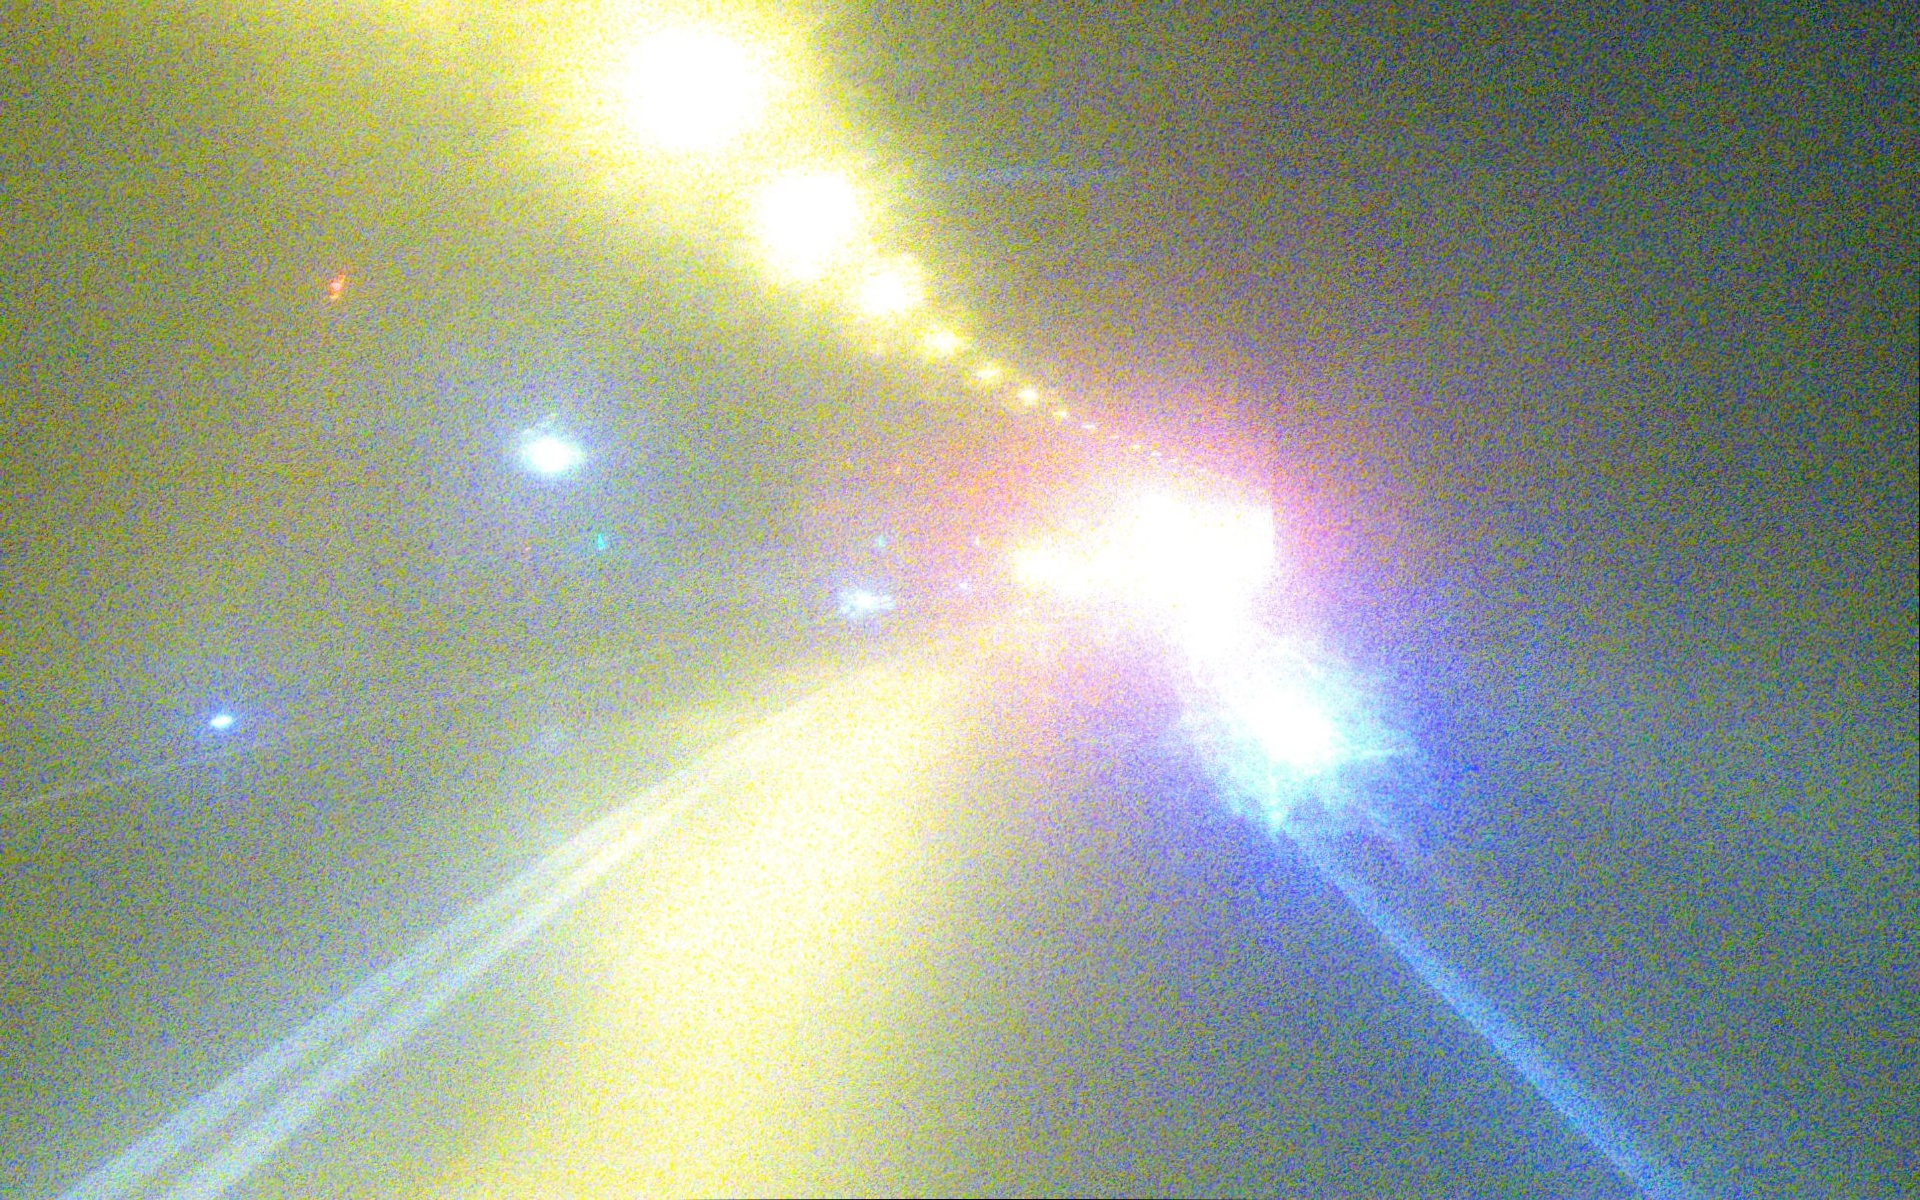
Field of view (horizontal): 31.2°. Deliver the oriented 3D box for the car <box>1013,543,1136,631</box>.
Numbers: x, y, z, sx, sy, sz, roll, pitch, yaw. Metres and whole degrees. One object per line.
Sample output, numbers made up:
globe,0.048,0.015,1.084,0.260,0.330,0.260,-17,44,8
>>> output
car,2.260,-0.261,66.889,2.090,1.656,3.999,0,1,6
